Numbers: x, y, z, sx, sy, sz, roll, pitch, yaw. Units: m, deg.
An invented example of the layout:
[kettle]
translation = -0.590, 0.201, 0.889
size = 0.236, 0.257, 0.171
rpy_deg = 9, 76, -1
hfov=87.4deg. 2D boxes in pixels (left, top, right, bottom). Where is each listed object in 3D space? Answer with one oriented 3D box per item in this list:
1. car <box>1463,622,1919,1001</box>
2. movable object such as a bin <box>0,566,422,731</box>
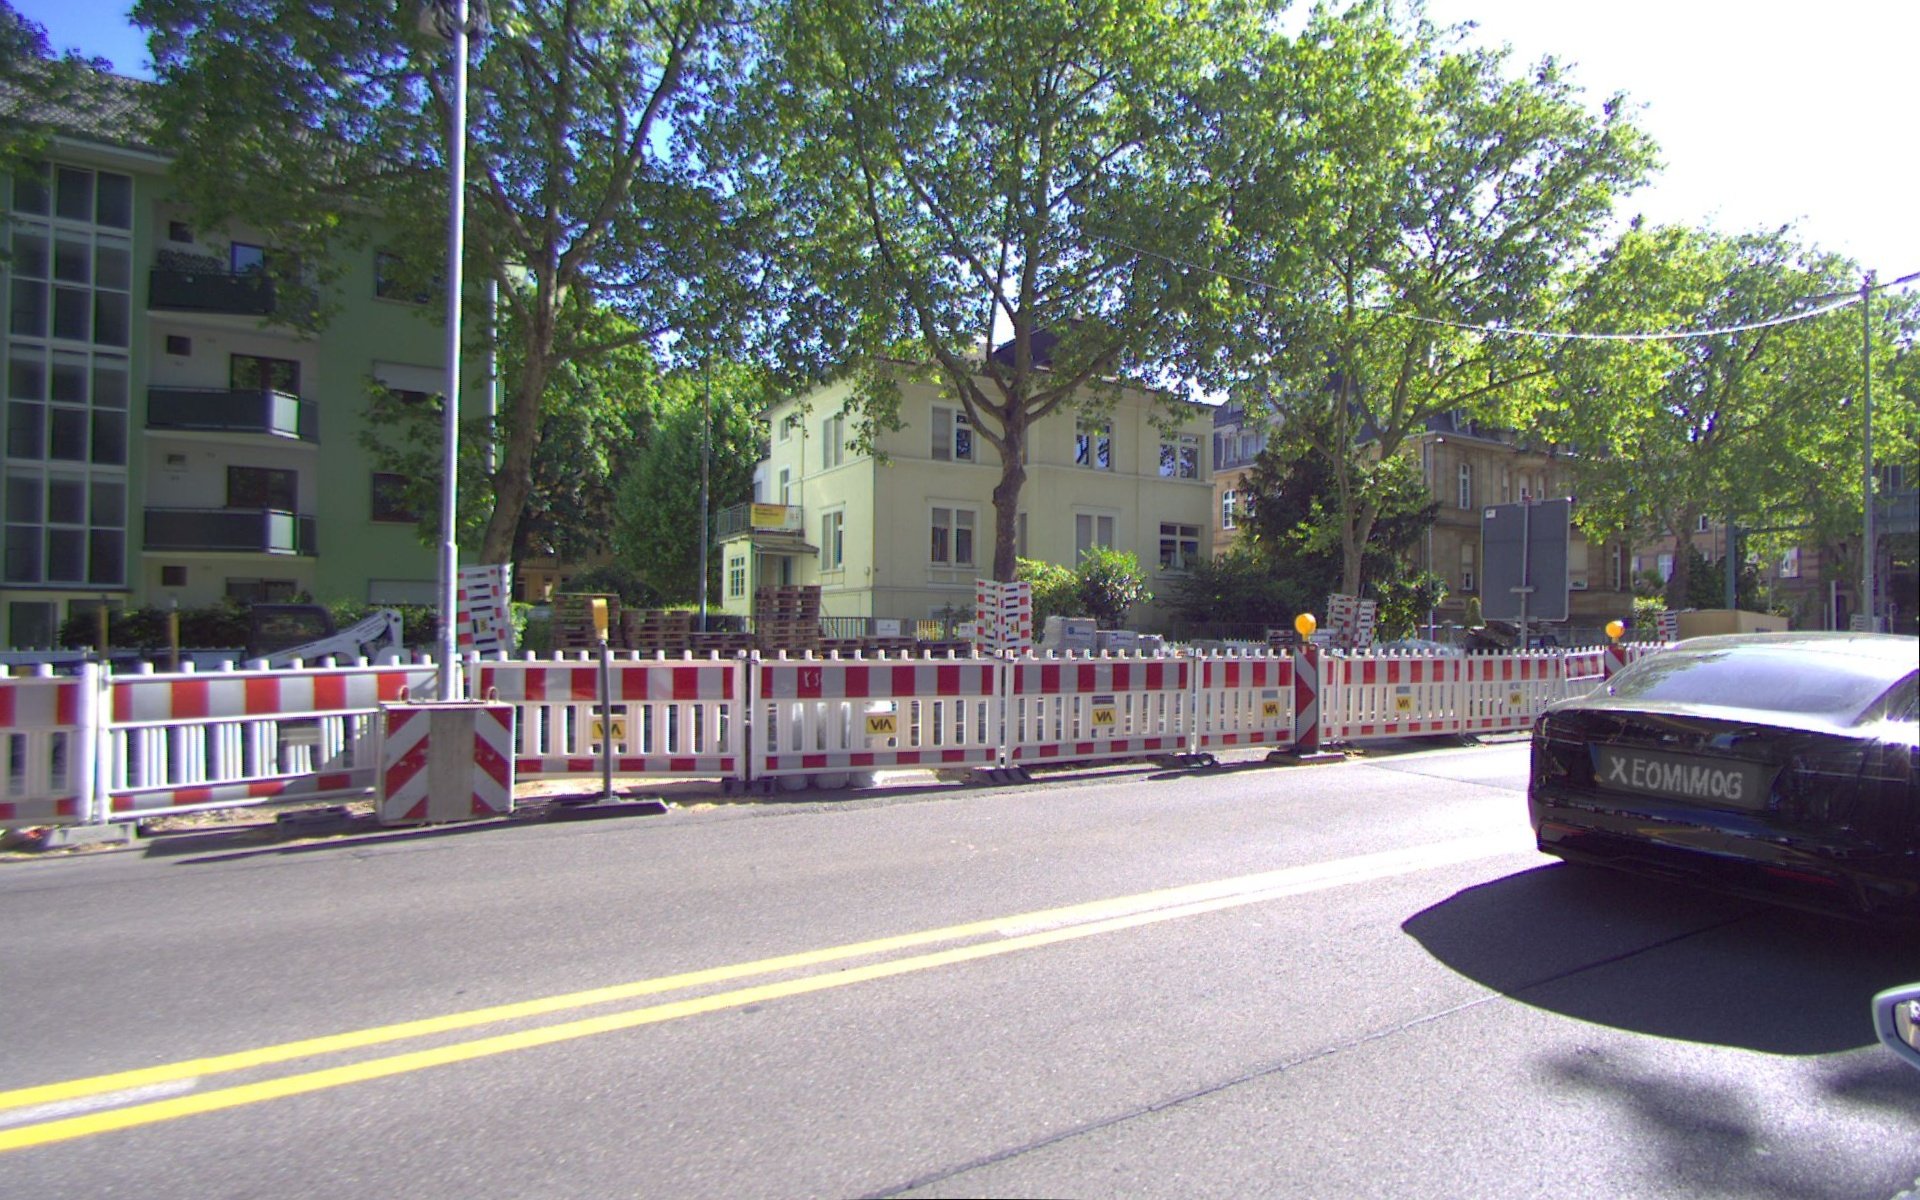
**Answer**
[car]
translation = 5.235, 0.884, 5.923
size = 4.572, 1.430, 1.915
rpy_deg = 1, 0, -31
[movable object such as a bin]
translation = -11.831, 0.771, 16.173
size = 5.529, 2.308, 1.986
rpy_deg = 2, -2, -29
